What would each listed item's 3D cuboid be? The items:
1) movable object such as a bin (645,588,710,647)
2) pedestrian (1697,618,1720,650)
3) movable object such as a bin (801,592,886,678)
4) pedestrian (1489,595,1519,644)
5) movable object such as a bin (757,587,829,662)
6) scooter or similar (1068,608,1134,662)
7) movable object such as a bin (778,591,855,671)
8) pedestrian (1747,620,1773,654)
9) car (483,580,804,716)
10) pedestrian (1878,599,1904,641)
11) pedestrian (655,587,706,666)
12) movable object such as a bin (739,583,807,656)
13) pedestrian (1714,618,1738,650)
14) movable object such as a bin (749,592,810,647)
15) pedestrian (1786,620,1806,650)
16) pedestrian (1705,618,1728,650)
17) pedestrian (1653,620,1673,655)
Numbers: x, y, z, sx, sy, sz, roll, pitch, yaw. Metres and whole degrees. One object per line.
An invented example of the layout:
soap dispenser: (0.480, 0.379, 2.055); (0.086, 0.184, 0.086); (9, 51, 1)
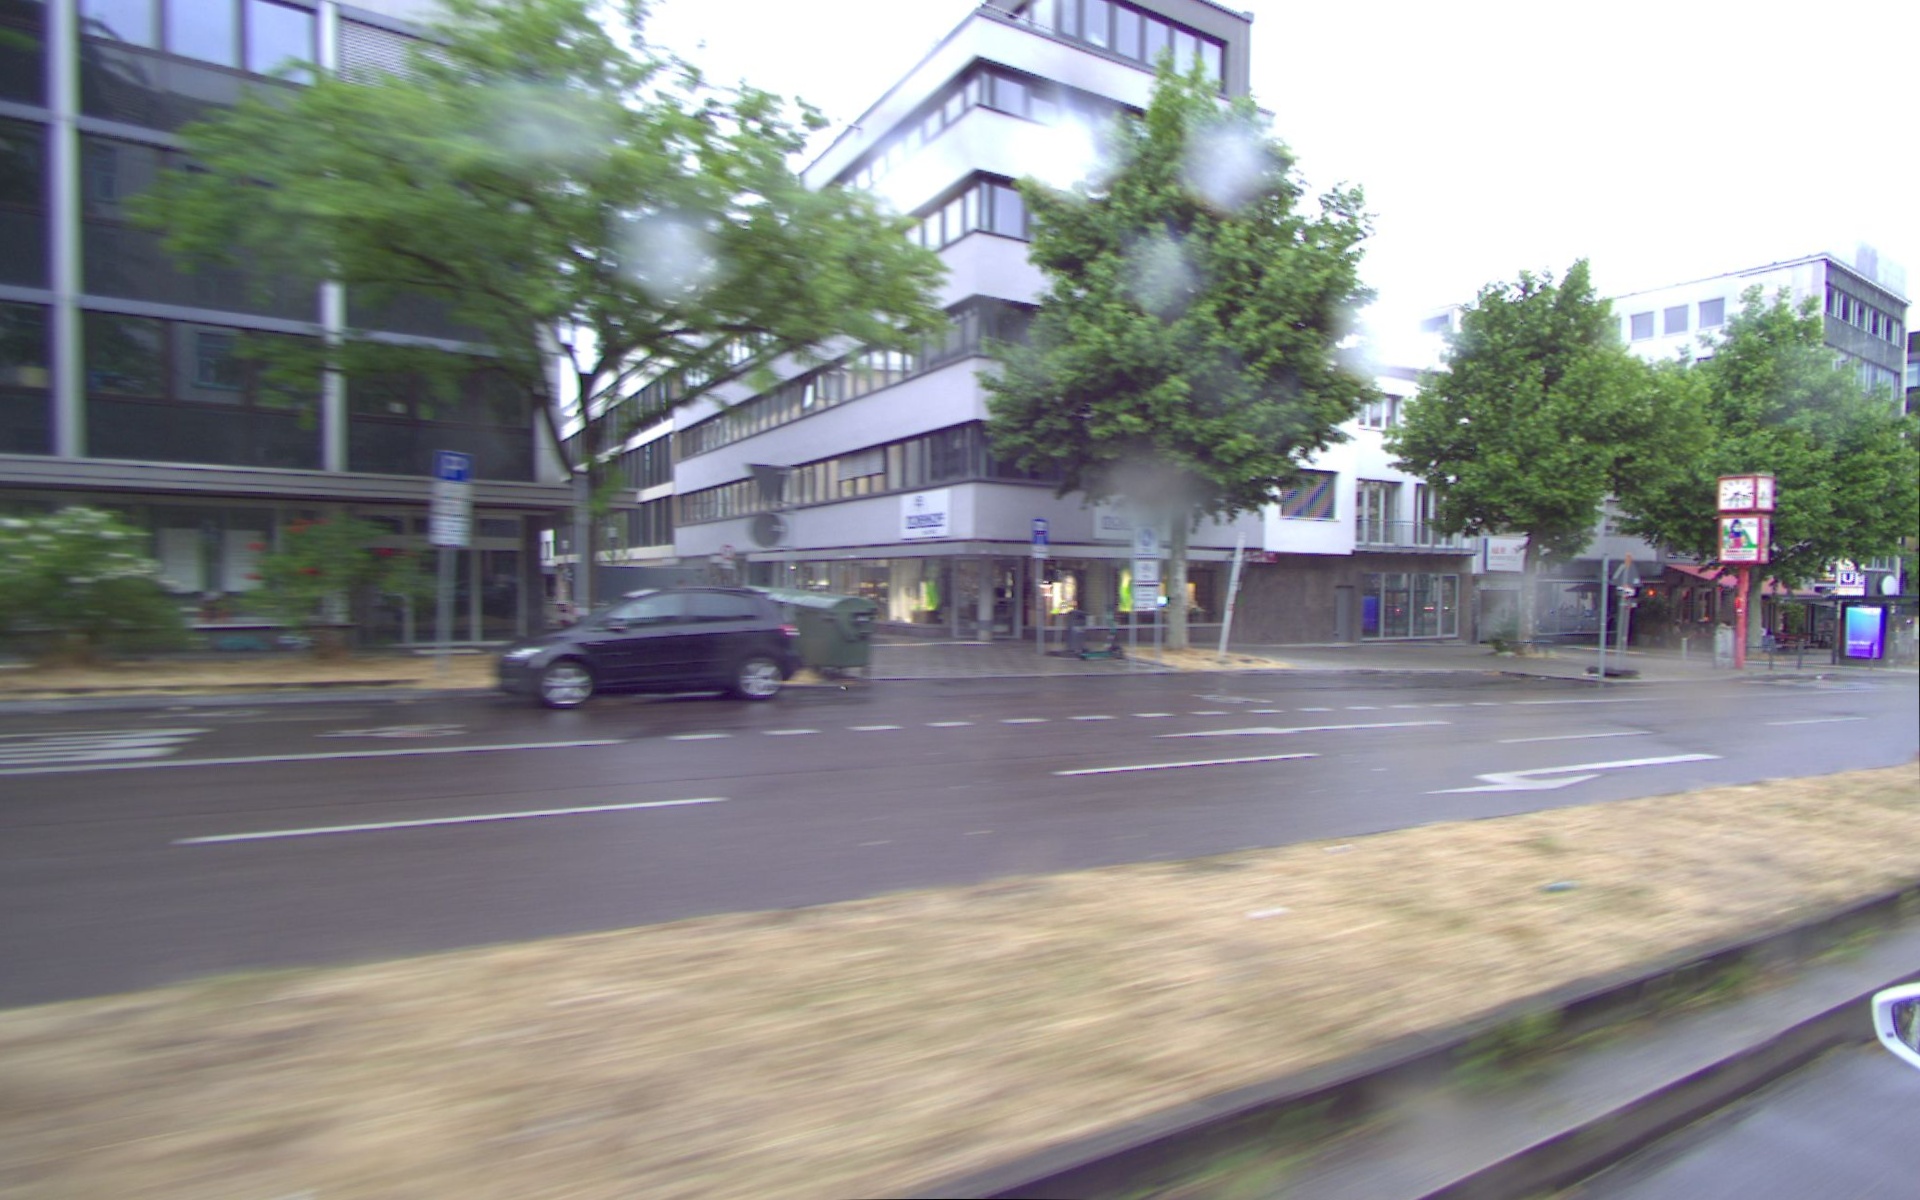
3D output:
movable object such as a bin: (-7.168, 0.432, 25.460); (1.270, 1.455, 1.077); (1, 0, -37)
pedestrian: (34.678, 1.576, 46.520); (0.541, 1.470, 0.685); (1, 0, -32)
movable object such as a bin: (-2.098, 0.606, 17.892); (1.075, 1.445, 1.354); (1, 0, -27)
pedestrian: (20.132, 0.727, 37.184); (0.644, 1.786, 0.694); (1, 0, -25)
movable object such as a bin: (-3.397, 0.484, 20.345); (1.075, 1.445, 1.273); (1, 0, -27)
scooter or similar: (3.271, 0.792, 23.250); (1.306, 1.137, 0.772); (-2, 4, -26)
movable object such as a bin: (-2.758, 0.574, 19.163); (1.075, 1.445, 1.273); (1, 0, -27)
pedestrian: (36.148, 1.669, 45.370); (0.700, 1.470, 0.685); (1, 0, -32)
car: (-4.383, 0.626, 14.029); (3.977, 1.657, 1.769); (1, 0, -31)
pedestrian: (43.038, 0.916, 46.419); (0.750, 1.910, 0.685); (1, 0, -32)
pedestrian: (-6.279, 0.583, 22.567); (0.886, 1.711, 0.864); (1, 0, -32)
movable object such as a bin: (-4.027, 0.403, 21.581); (1.075, 1.508, 1.273); (1, 0, -27)
pedestrian: (36.120, 1.580, 47.362); (0.684, 1.470, 0.722); (1, 0, -34)
movable object such as a bin: (-4.916, 0.530, 27.372); (1.270, 1.455, 1.077); (1, 0, -37)
pedestrian: (41.558, 1.730, 49.927); (0.582, 1.470, 0.599); (1, 0, -33)
pedestrian: (35.249, 1.582, 46.799); (0.576, 1.470, 0.686); (1, 0, -30)
pedestrian: (32.531, 1.712, 46.502); (0.599, 1.591, 0.591); (1, 0, -37)
